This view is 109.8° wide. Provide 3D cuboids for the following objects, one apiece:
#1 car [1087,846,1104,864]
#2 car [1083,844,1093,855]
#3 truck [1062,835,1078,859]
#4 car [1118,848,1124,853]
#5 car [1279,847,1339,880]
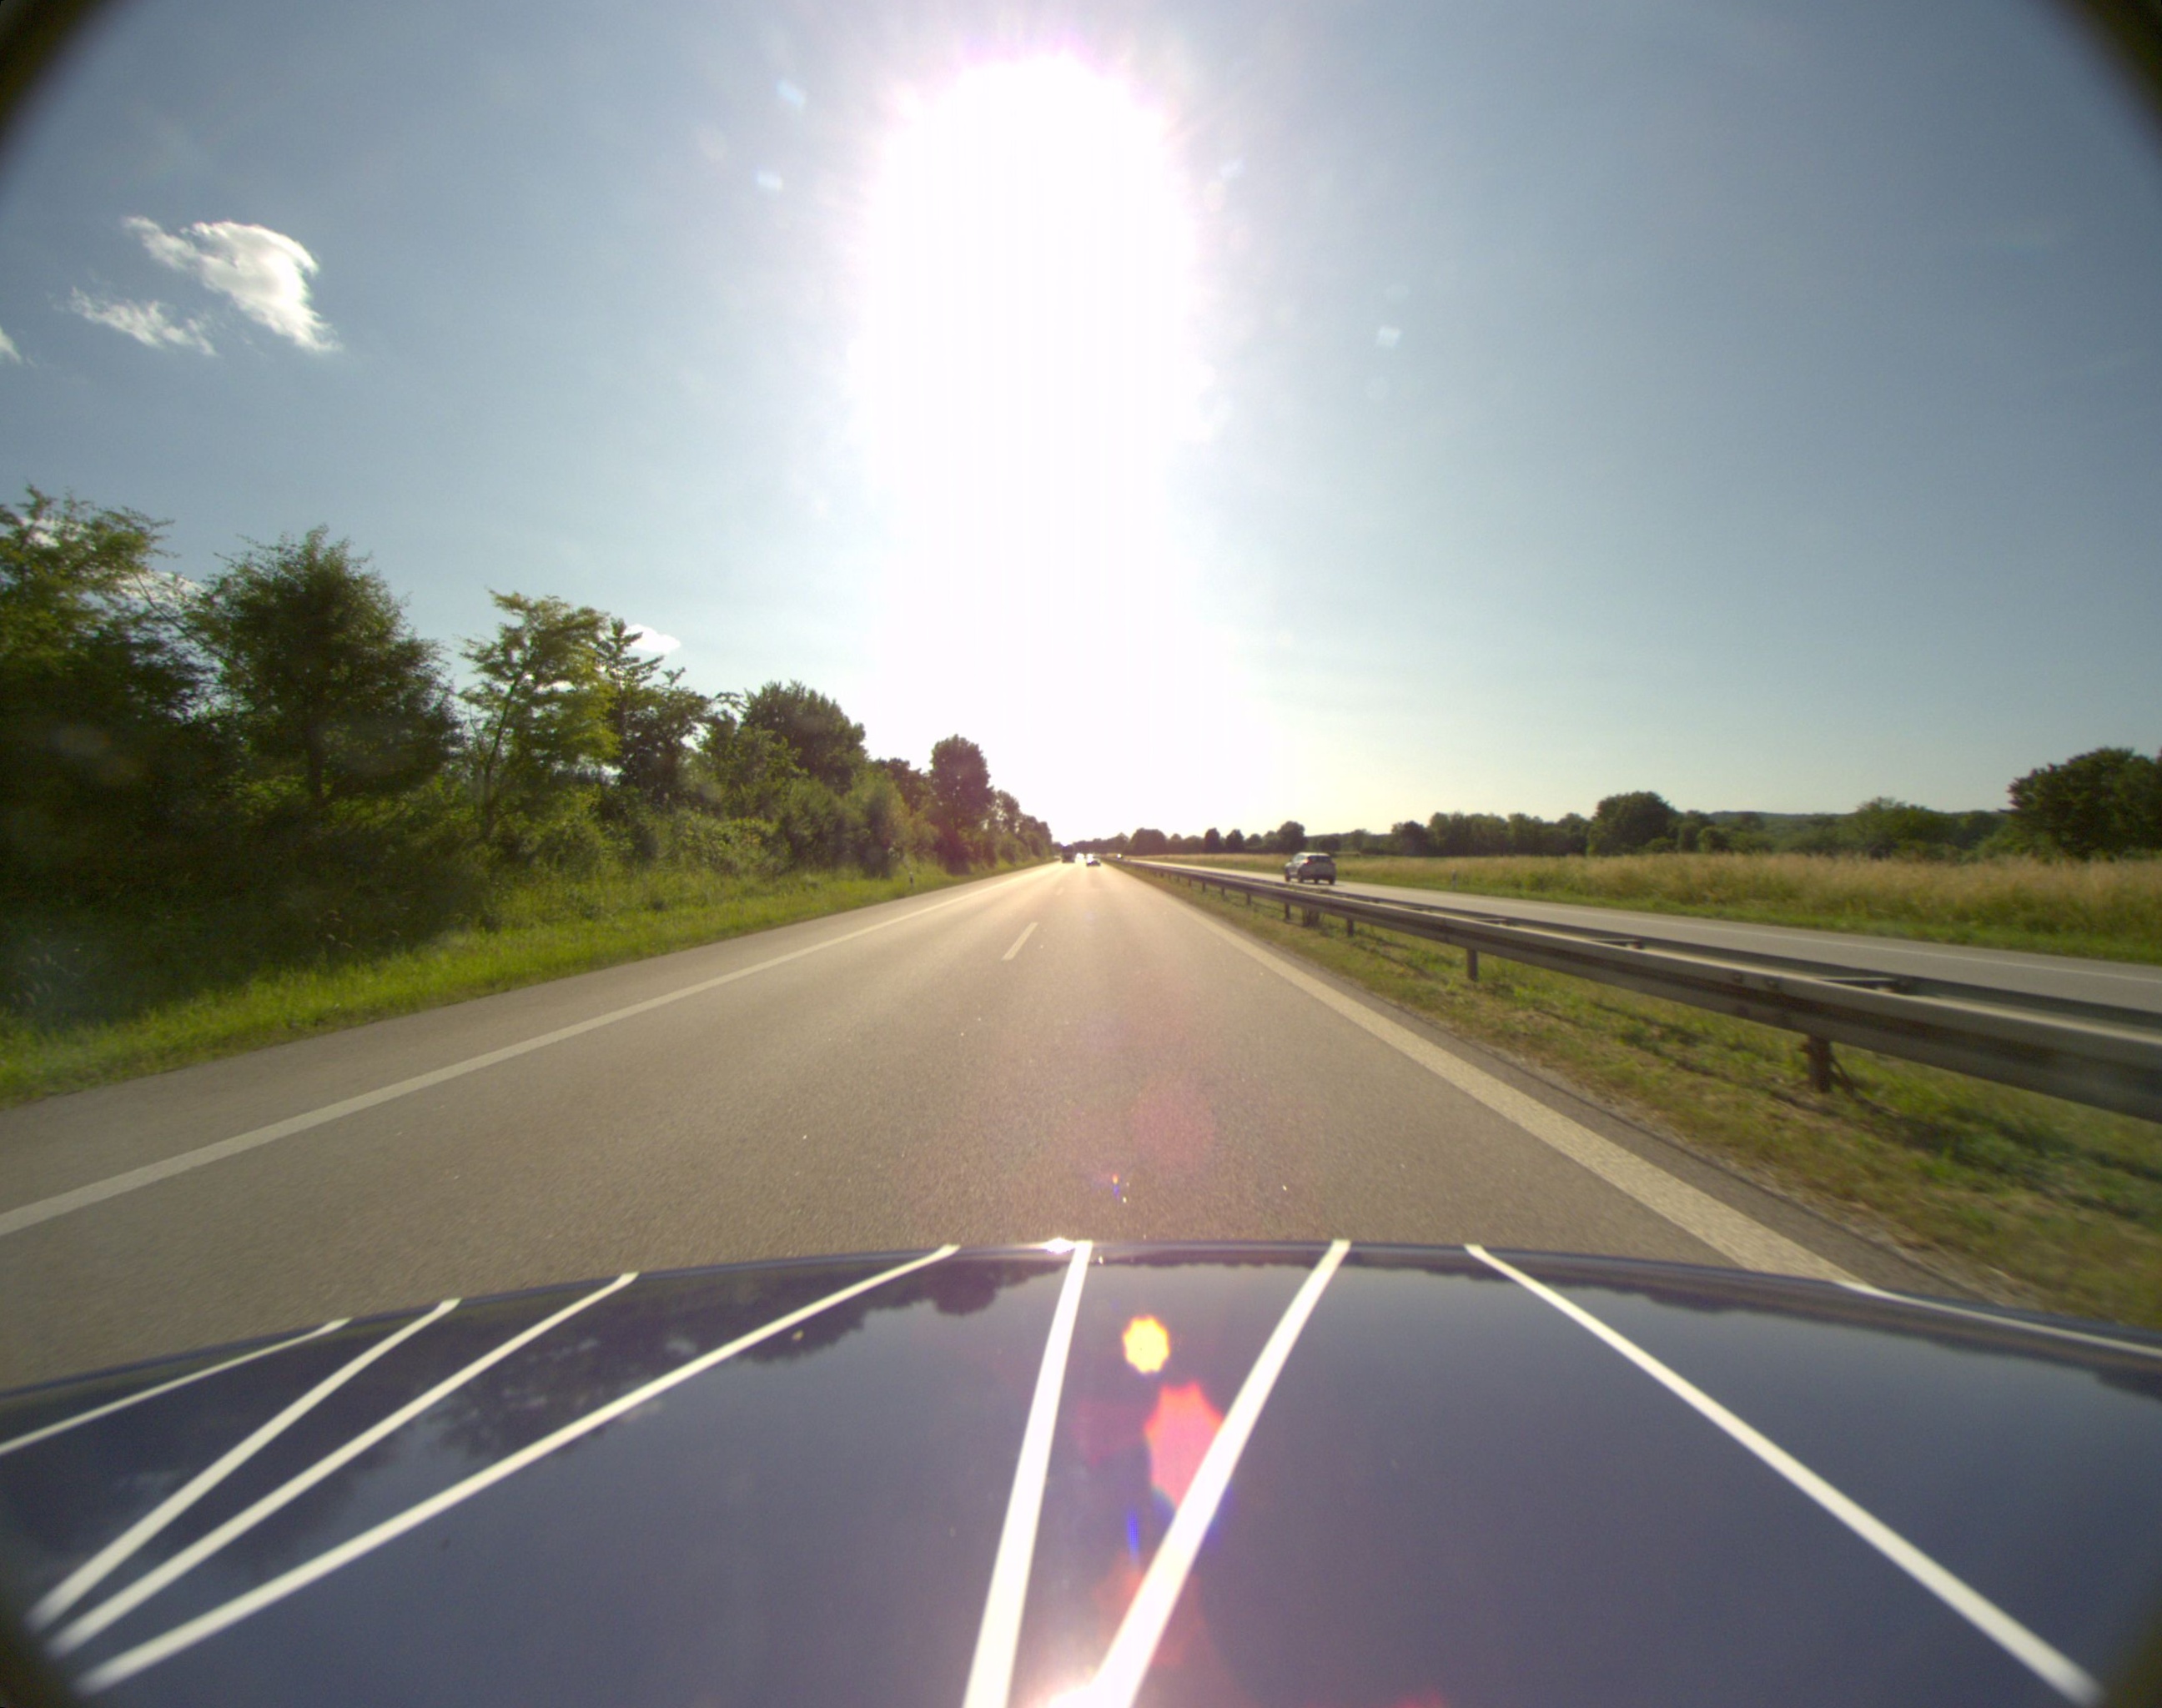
[{"bbox_3d":[1.760,0.120,92.326,1.998,2.002,4.358,-2,1,1],"label":"car"},{"bbox_3d":[1.658,-1.096,177.384,2.193,2.502,5.351,-2,1,1],"label":"car"},{"bbox_3d":[-2.104,-1.363,146.691,2.759,4.242,8.492,-2,1,1],"label":"truck"},{"bbox_3d":[12.439,-1.147,234.982,1.774,1.477,4.913,0,0,1],"label":"car"},{"bbox_3d":[12.442,0.476,41.735,1.907,1.673,4.730,0,1,1],"label":"car"}]
